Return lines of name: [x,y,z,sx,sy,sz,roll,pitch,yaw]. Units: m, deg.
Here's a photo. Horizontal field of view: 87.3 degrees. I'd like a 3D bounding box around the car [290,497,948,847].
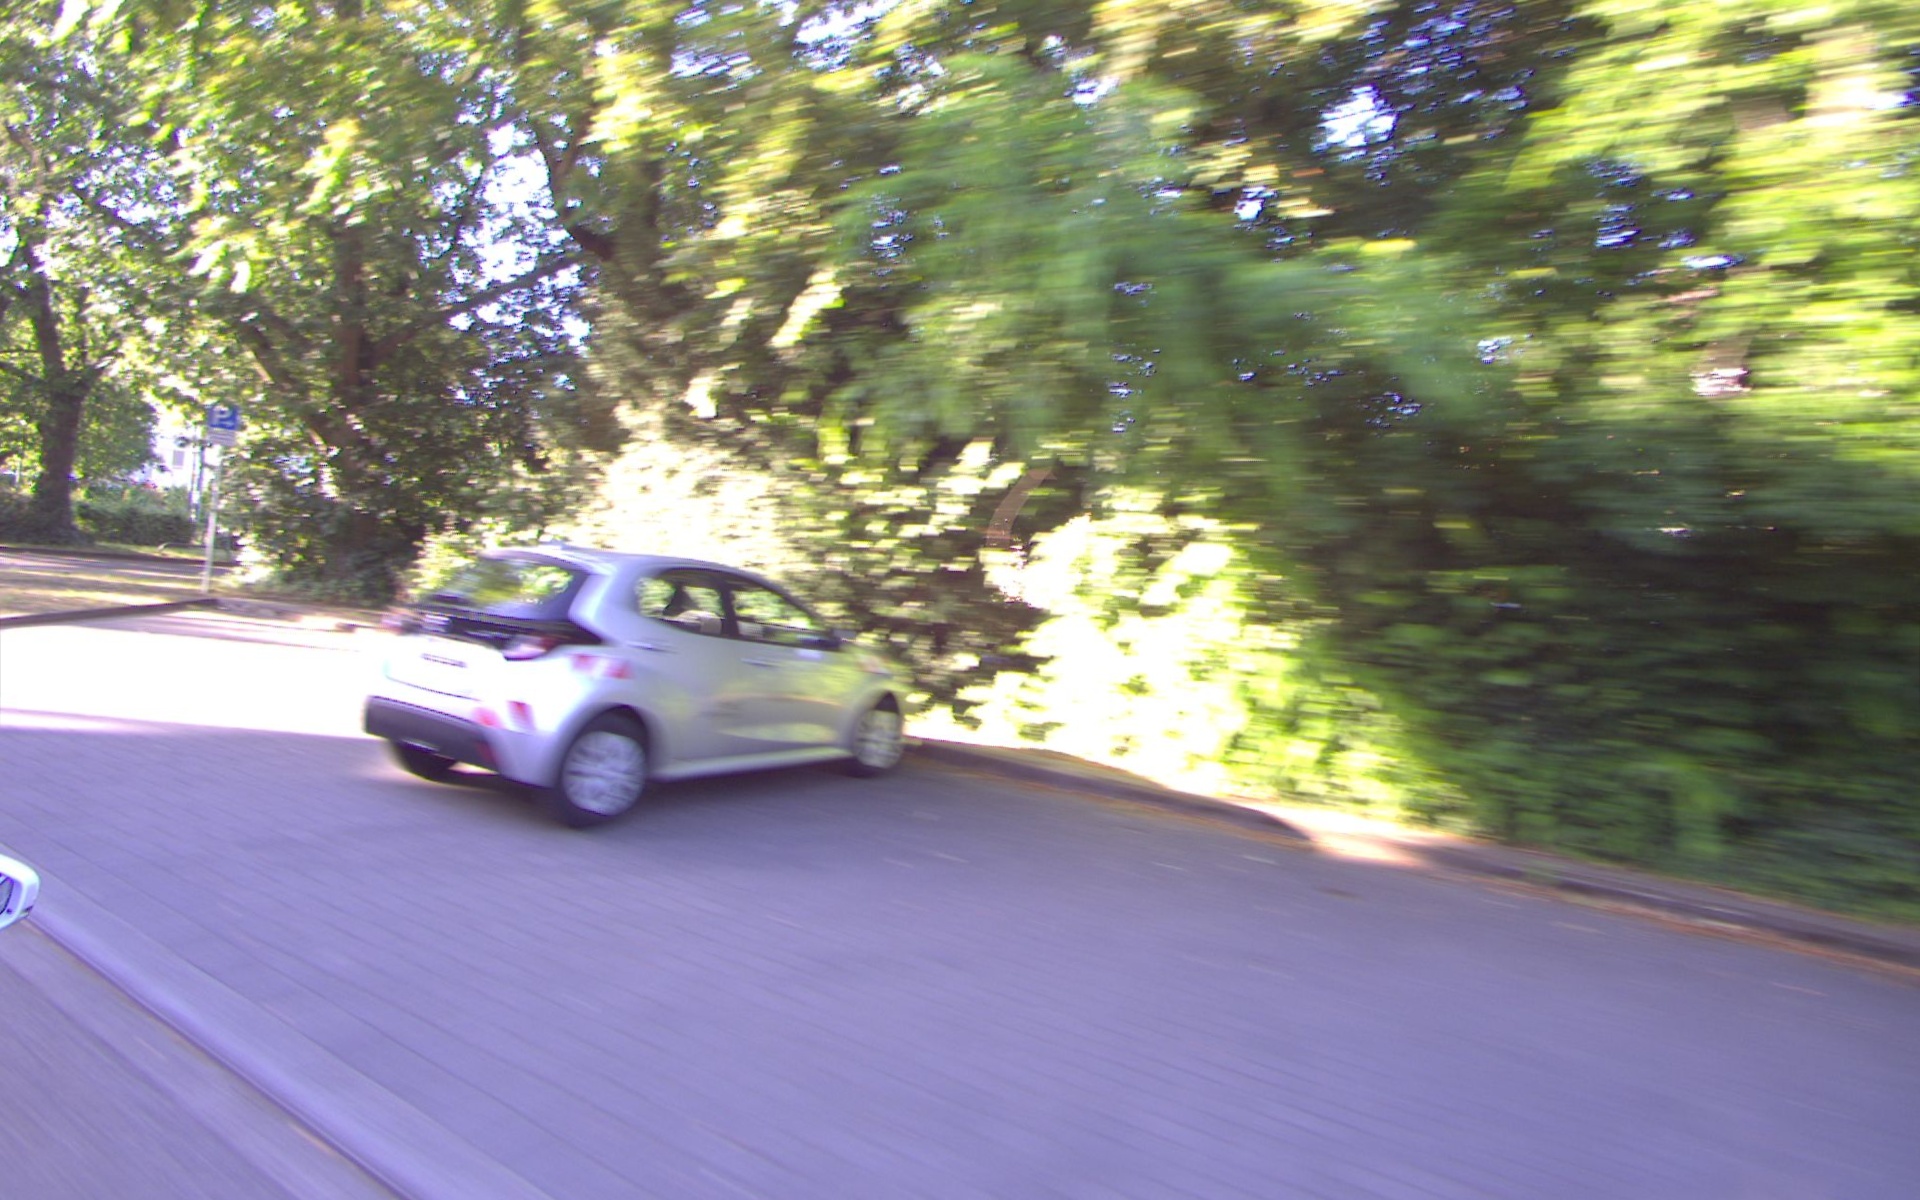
car: [-1.914,0.359,6.830,1.706,1.567,3.988,7,2,31]
